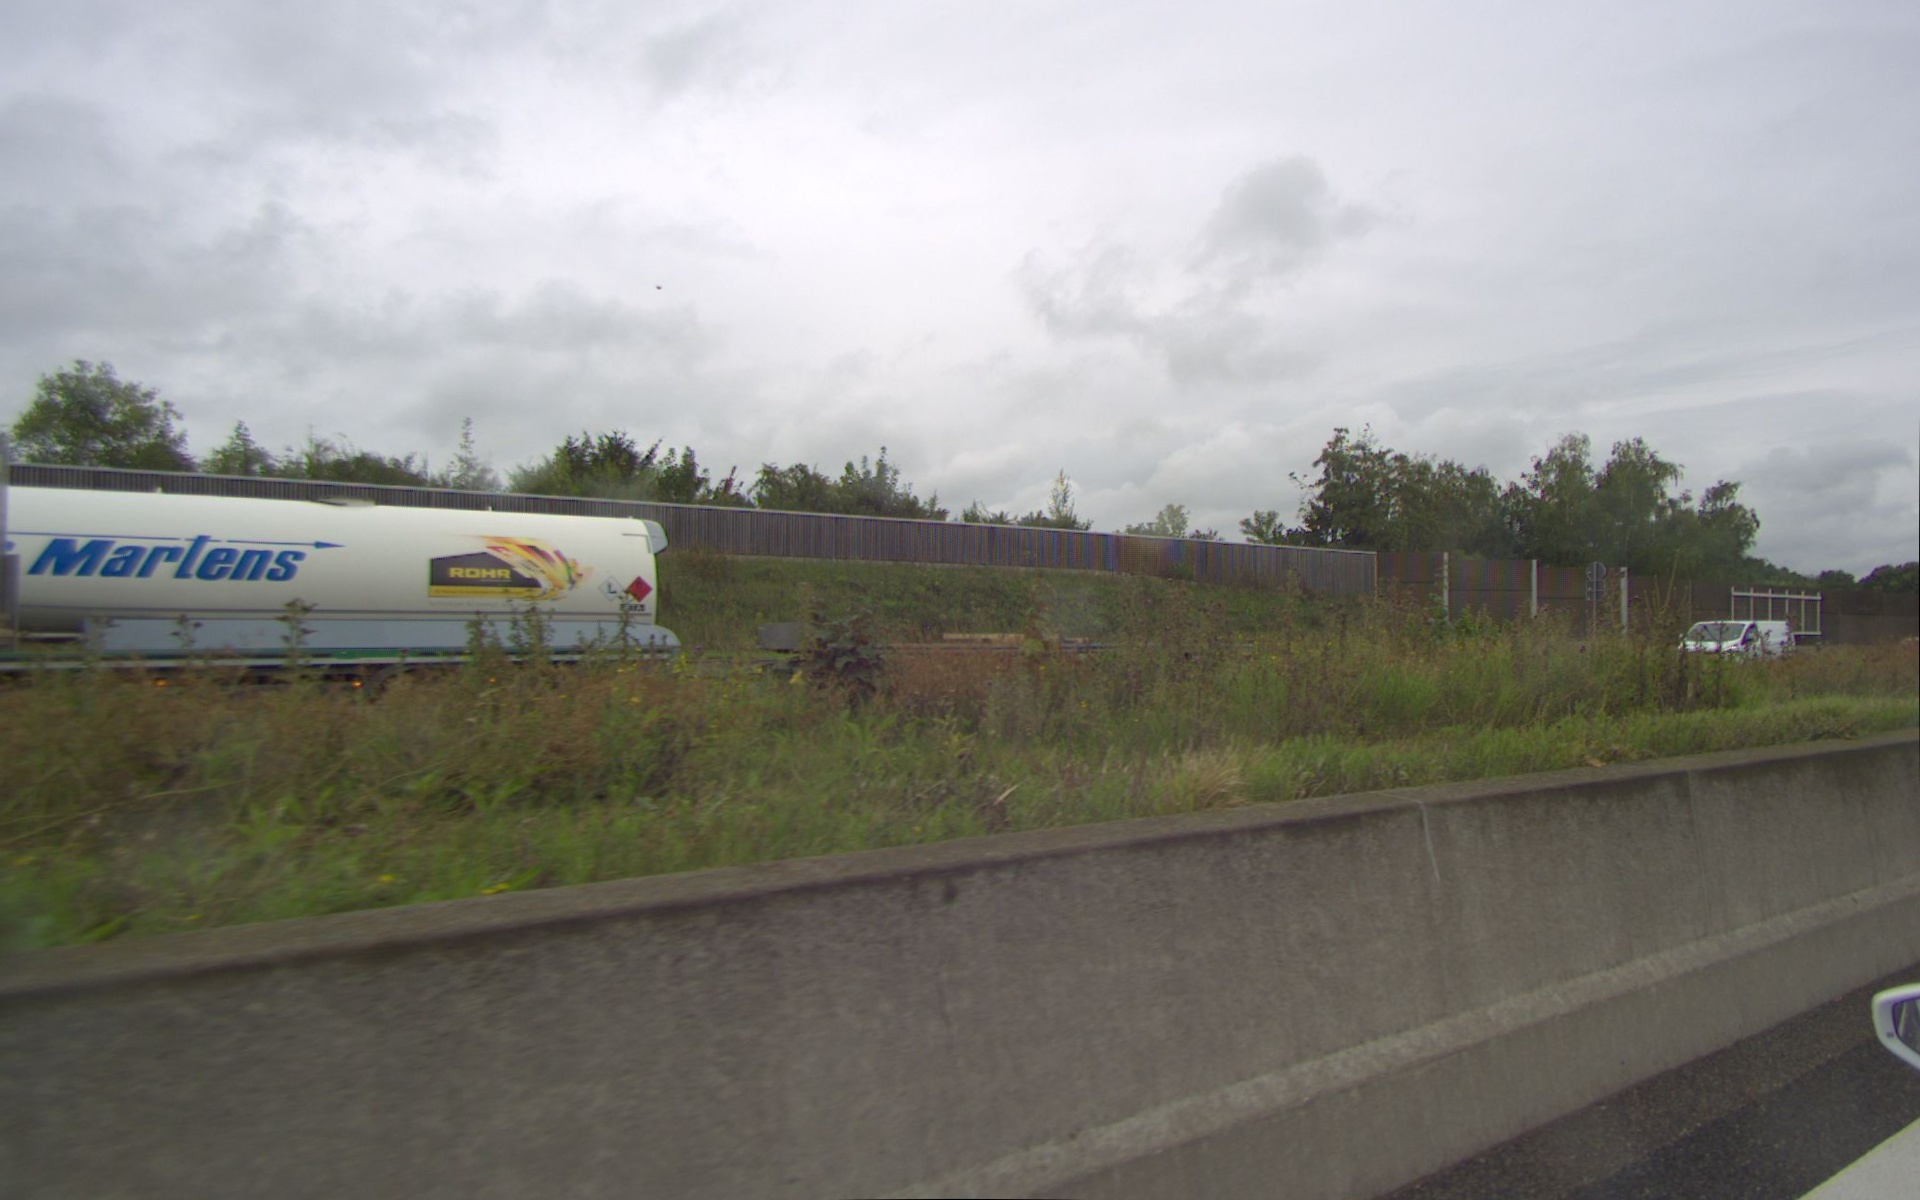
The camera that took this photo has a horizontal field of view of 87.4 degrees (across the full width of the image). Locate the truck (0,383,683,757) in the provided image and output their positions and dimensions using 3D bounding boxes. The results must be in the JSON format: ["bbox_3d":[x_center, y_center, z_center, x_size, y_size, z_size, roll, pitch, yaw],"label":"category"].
[{"bbox_3d":[-7.567,-0.241,10.311,8.625,3.108,2.941,1,0,-31],"label":"truck"}]

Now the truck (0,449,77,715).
[{"bbox_3d":[-13.923,-0.286,11.284,5.549,3.060,2.608,1,1,-31],"label":"truck"}]

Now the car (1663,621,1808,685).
[{"bbox_3d":[26.909,1.781,34.794,5.884,2.040,1.898,1,0,-30],"label":"car"}]

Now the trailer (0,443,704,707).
[{"bbox_3d":[-9.257,-0.246,14.131,10.675,3.029,2.598,1,0,-32],"label":"trailer"}]

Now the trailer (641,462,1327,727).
[{"bbox_3d":[0.831,0.026,15.299,10.445,2.999,2.941,1,0,-30],"label":"trailer"}]

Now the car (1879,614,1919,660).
[{"bbox_3d":[44.994,1.723,46.730,4.597,2.040,1.984,1,0,-30],"label":"car"}]
